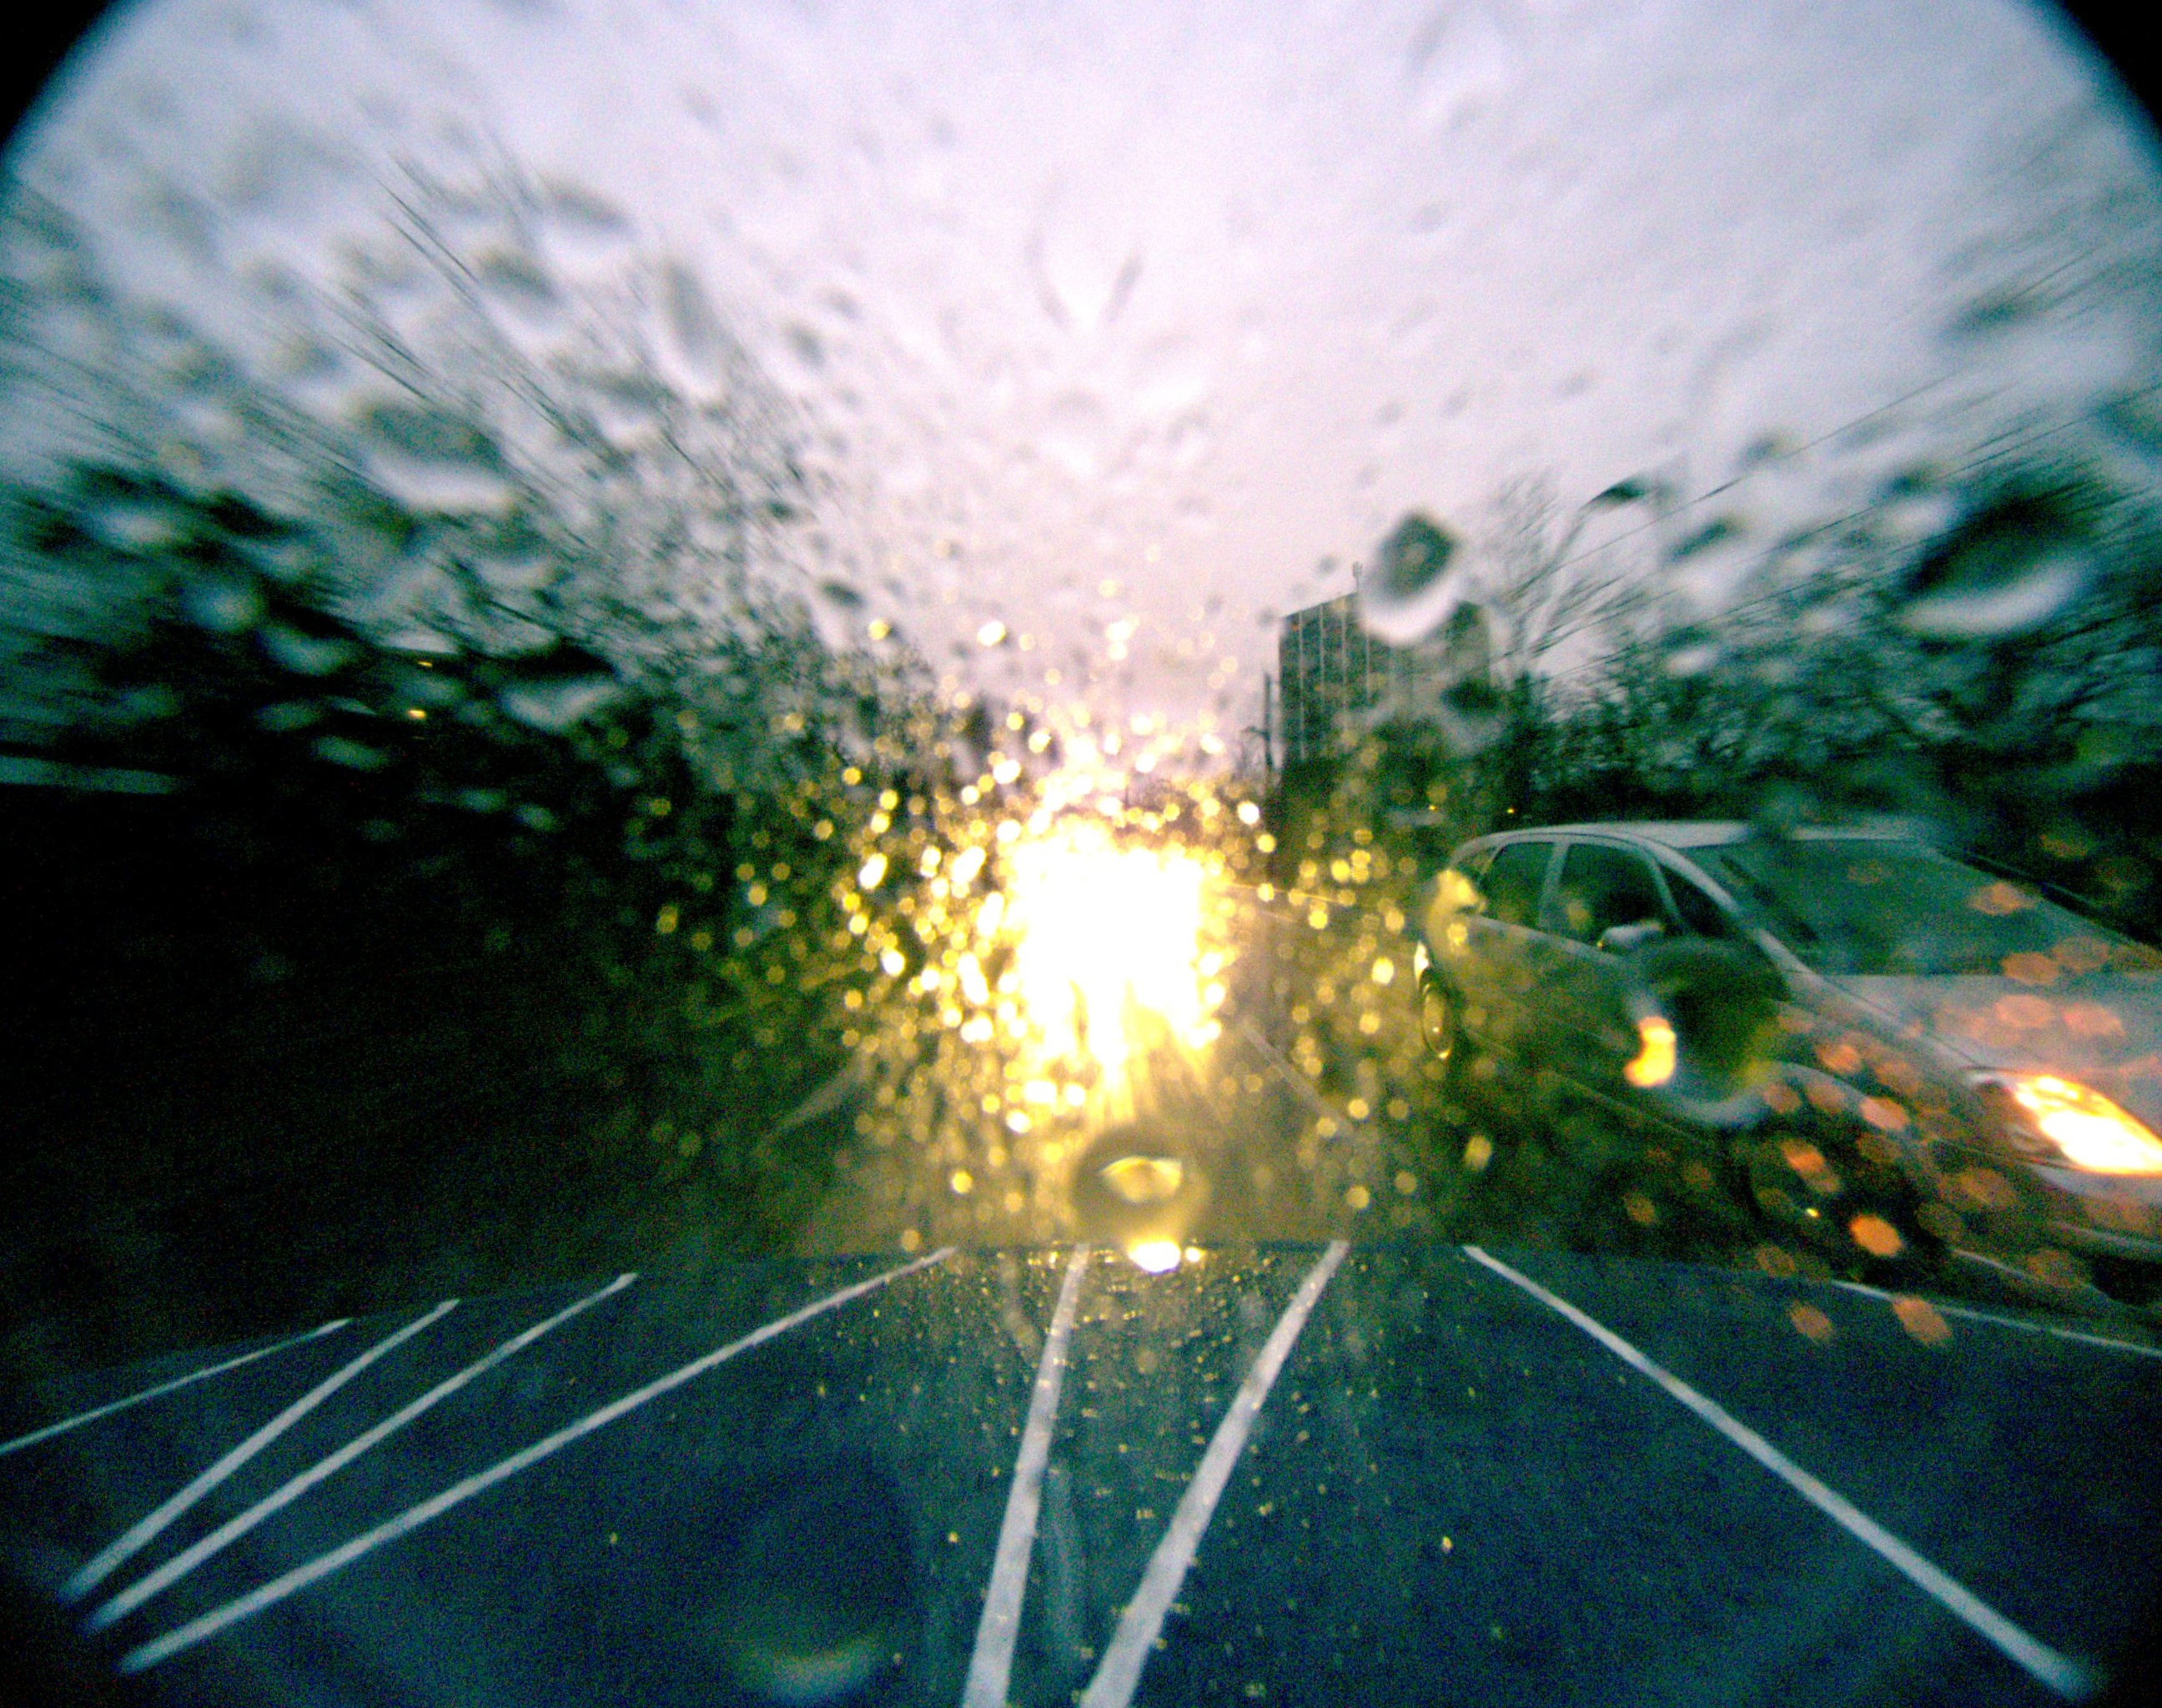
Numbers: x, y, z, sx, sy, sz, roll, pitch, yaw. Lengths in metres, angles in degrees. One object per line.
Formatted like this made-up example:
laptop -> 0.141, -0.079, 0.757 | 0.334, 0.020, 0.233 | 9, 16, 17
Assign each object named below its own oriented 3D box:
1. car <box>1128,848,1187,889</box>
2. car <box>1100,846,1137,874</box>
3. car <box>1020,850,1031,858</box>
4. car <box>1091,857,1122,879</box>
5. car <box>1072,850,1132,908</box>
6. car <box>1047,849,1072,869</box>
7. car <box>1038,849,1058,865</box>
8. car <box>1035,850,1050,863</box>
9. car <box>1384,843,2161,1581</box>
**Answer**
car -> 3.161, 0.576, 32.108 | 1.953, 1.590, 4.123 | -1, 0, -1
car -> 2.261, 0.335, 47.017 | 1.953, 1.590, 4.123 | -1, 0, -1
car -> -11.413, -0.002, 155.631 | 1.954, 1.590, 4.121 | -1, 0, -7
car -> 2.104, 1.123, 63.396 | 1.999, 1.652, 3.997 | -3, 1, -6
car -> 0.595, 0.693, 23.442 | 1.679, 1.590, 4.044 | -1, 0, 0
car -> -1.715, 0.377, 62.260 | 1.953, 1.590, 4.123 | -1, 0, -1
car -> -3.417, 0.307, 77.783 | 1.953, 1.590, 4.123 | -1, 0, -3
car -> -5.162, 0.323, 102.328 | 1.953, 1.590, 4.123 | -1, 0, -3
car -> 3.147, 0.755, 3.611 | 1.694, 1.530, 4.190 | -2, 0, 0
